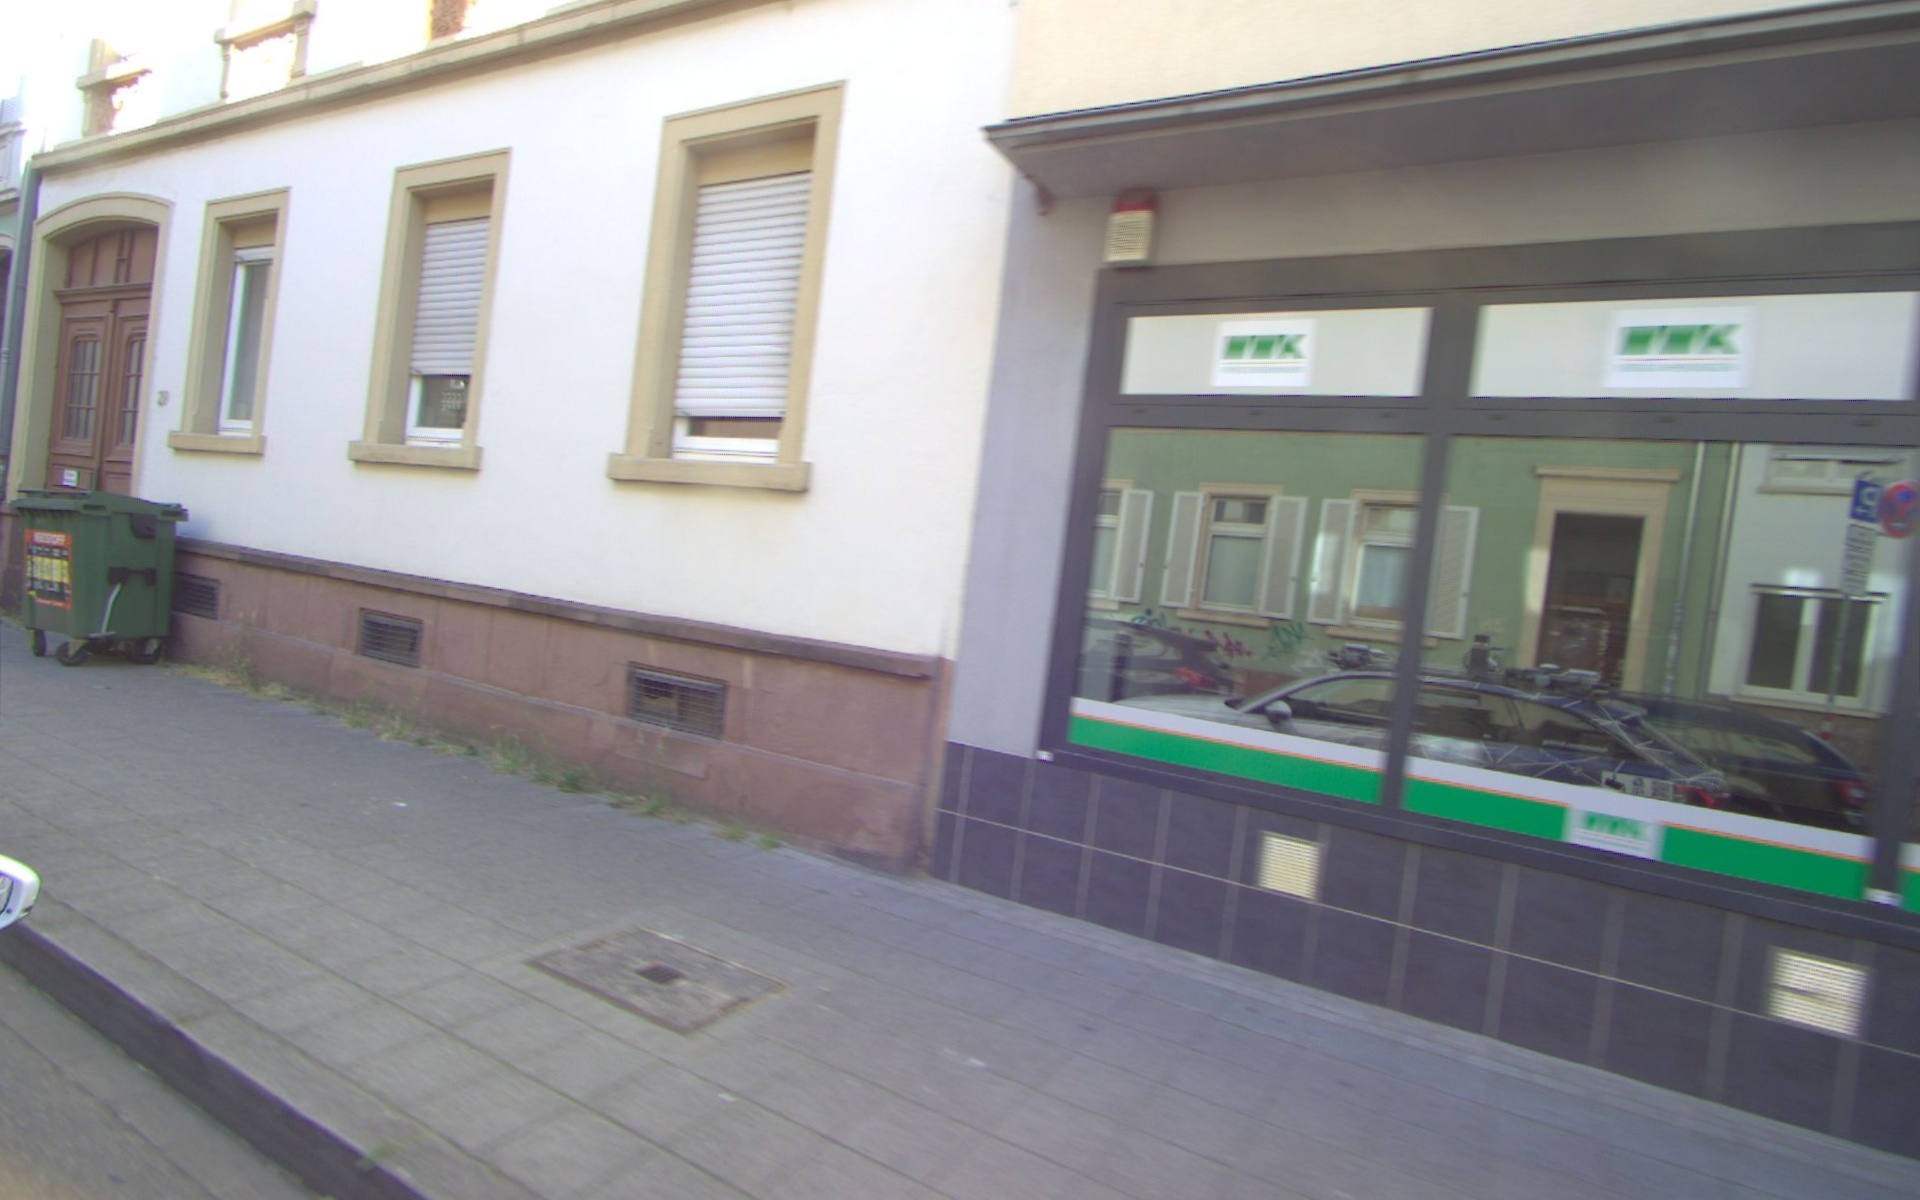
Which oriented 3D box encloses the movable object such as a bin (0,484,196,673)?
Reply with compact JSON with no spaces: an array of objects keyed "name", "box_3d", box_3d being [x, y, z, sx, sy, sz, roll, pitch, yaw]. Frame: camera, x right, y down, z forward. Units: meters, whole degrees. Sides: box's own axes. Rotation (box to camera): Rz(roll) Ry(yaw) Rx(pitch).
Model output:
[{"name":"movable object such as a bin","box_3d":[-7.087,-0.187,8.252,1.275,1.408,0.837,5,2,29]}]
